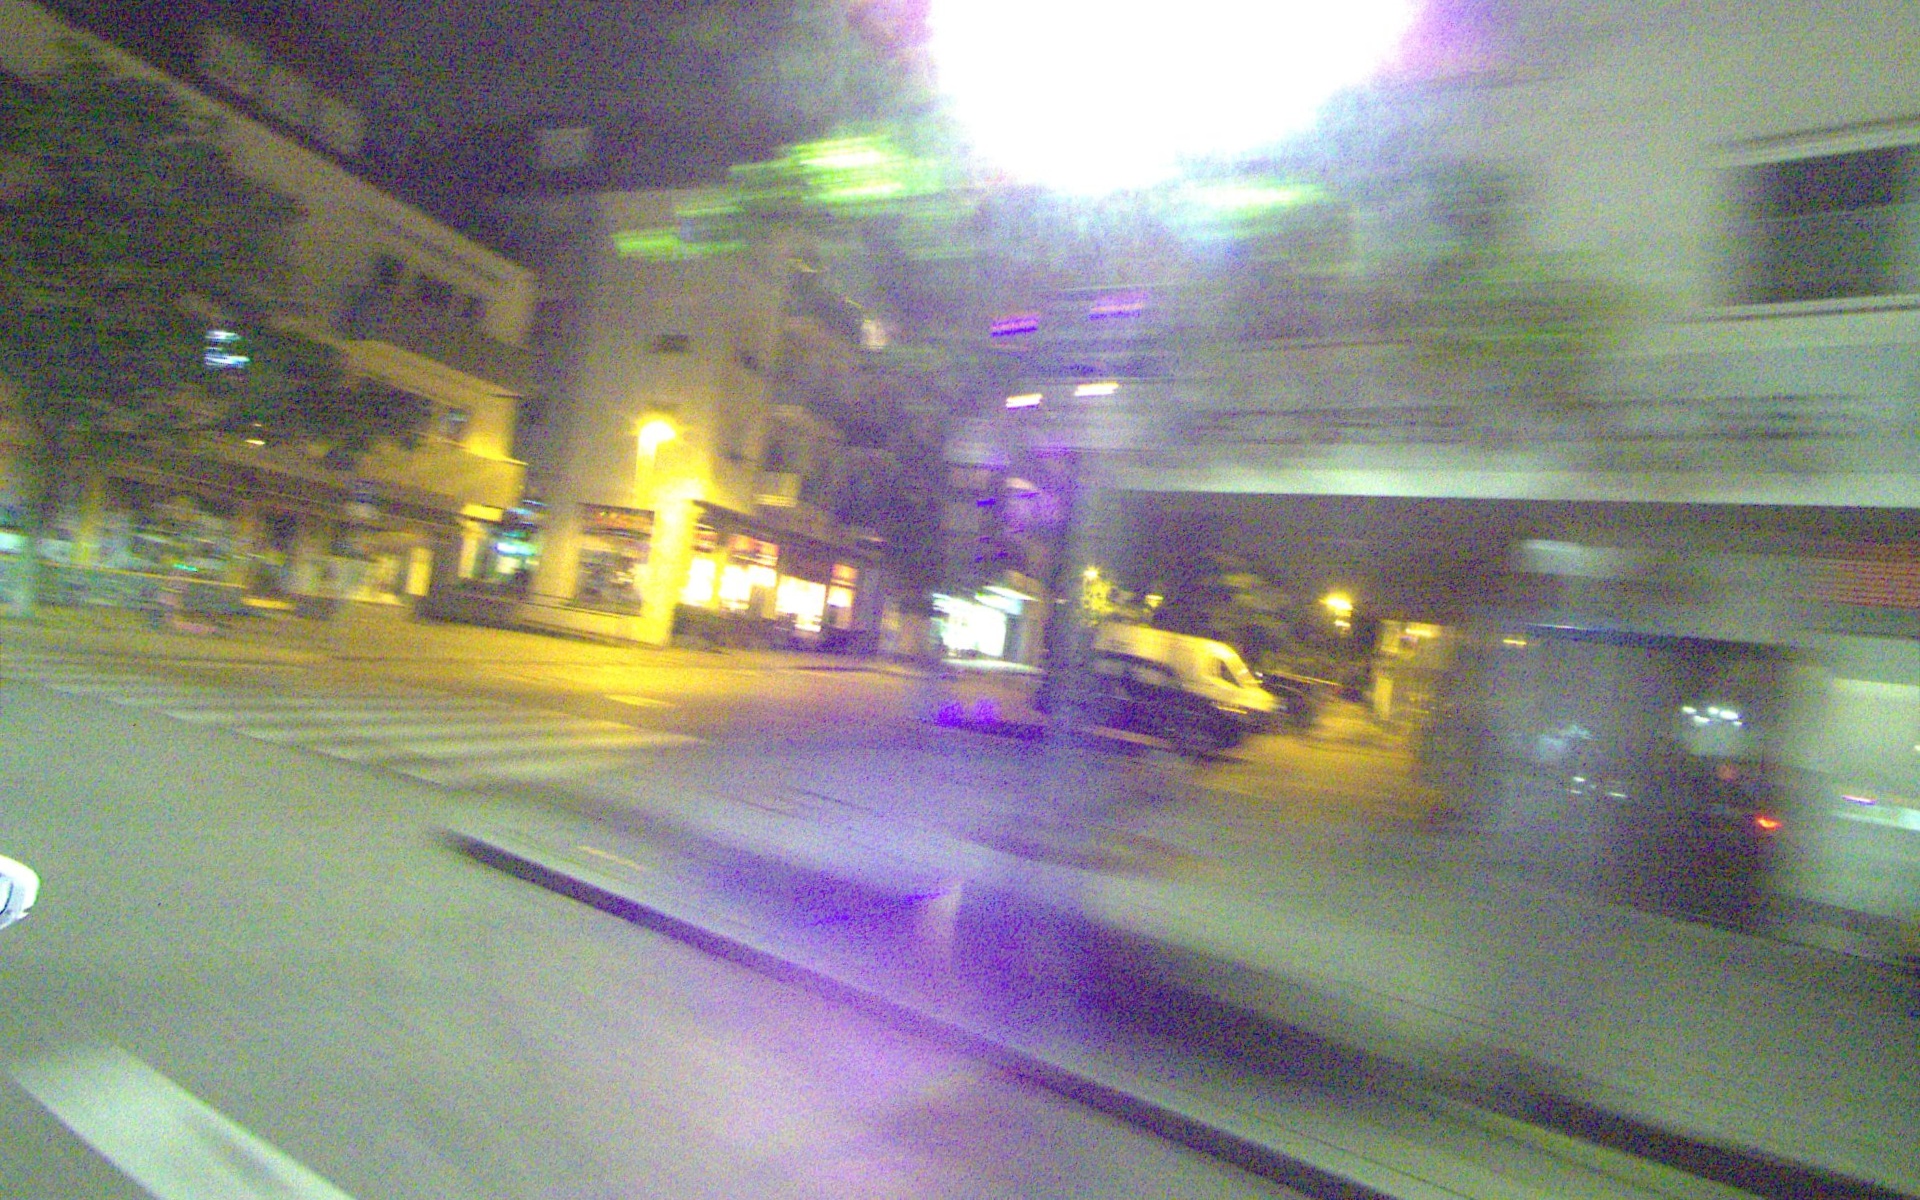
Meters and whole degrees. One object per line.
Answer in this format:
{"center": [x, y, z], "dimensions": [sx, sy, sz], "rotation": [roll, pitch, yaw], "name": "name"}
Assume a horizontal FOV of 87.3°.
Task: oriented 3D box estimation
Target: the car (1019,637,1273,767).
{"center": [3.552, 1.901, 19.114], "dimensions": [4.260, 1.678, 2.003], "rotation": [8, -3, 23], "name": "car"}

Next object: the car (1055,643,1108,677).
{"center": [6.812, 3.358, 56.040], "dimensions": [1.963, 1.572, 3.736], "rotation": [8, -1, 20], "name": "car"}

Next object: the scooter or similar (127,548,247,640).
{"center": [-12.378, -0.082, 16.137], "dimensions": [0.588, 1.240, 1.250], "rotation": [8, -3, 32], "name": "scooter or similar"}

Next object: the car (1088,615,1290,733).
{"center": [7.131, 2.297, 31.383], "dimensions": [5.621, 2.676, 2.540], "rotation": [8, -3, 17], "name": "car"}
